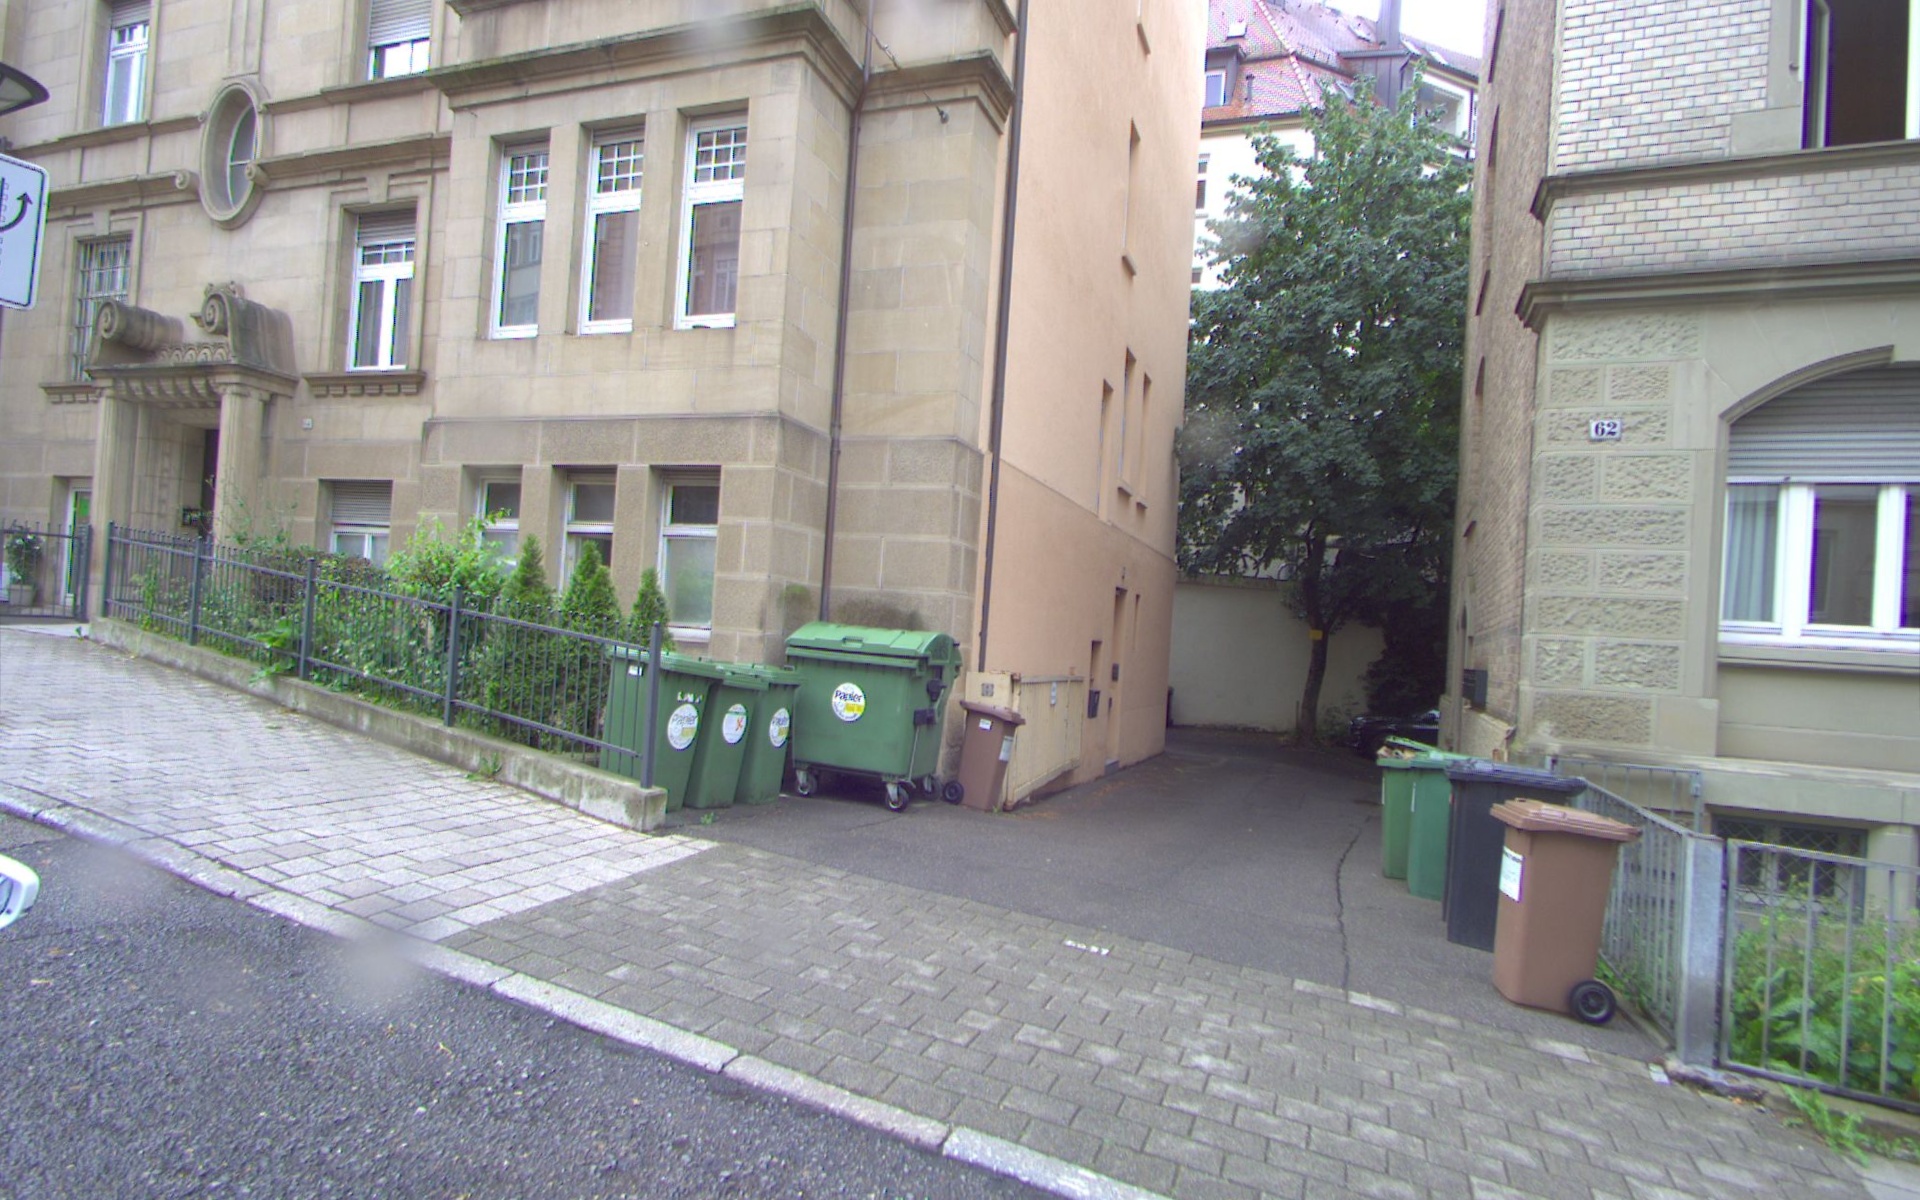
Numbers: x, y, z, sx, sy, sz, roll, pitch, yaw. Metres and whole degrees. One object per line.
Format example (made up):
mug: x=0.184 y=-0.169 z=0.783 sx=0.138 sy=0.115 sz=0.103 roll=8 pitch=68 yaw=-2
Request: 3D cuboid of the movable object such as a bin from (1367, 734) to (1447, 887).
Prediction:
movable object such as a bin: x=3.603 y=1.676 z=8.134 sx=0.469 sy=1.113 sz=0.521 roll=6 pitch=-3 yaw=23

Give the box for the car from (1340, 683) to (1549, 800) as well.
car: x=10.998 y=3.131 z=22.973 sx=3.930 sy=1.530 sz=1.796 roll=13 pitch=5 yaw=28

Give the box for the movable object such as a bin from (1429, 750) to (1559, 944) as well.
movable object such as a bin: x=3.391 y=1.542 z=6.428 sx=0.598 sy=1.072 sz=0.501 roll=6 pitch=-3 yaw=24

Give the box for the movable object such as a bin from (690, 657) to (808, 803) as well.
movable object such as a bin: x=-1.648 y=1.012 z=7.907 sx=0.593 sy=1.036 sz=0.540 roll=6 pitch=-4 yaw=20

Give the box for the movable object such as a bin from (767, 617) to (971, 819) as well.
movable object such as a bin: x=-0.741 y=0.977 z=8.479 sx=1.256 sy=1.447 sz=0.976 roll=6 pitch=-4 yaw=20

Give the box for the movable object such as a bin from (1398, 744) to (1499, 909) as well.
movable object such as a bin: x=3.578 y=1.637 z=7.400 sx=0.545 sy=1.072 sz=0.498 roll=6 pitch=-3 yaw=24

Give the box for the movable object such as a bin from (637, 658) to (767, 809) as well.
movable object such as a bin: x=-1.859 y=0.957 z=7.298 sx=0.593 sy=0.978 sz=0.540 roll=6 pitch=-4 yaw=20

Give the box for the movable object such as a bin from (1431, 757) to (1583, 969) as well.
movable object such as a bin: x=3.167 y=1.483 z=5.843 sx=0.653 sy=1.041 sz=0.529 roll=6 pitch=-4 yaw=30

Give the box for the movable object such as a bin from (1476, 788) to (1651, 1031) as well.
movable object such as a bin: x=2.817 y=1.424 z=4.741 sx=0.527 sy=0.932 sz=0.427 roll=7 pitch=2 yaw=20

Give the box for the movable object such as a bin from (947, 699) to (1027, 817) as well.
movable object such as a bin: x=0.246 y=1.397 z=8.974 sx=0.510 sy=0.952 sz=0.395 roll=6 pitch=-4 yaw=20

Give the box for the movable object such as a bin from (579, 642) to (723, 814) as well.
movable object such as a bin: x=-2.064 y=0.851 z=6.757 sx=0.593 sy=1.036 sz=0.540 roll=6 pitch=-4 yaw=20
